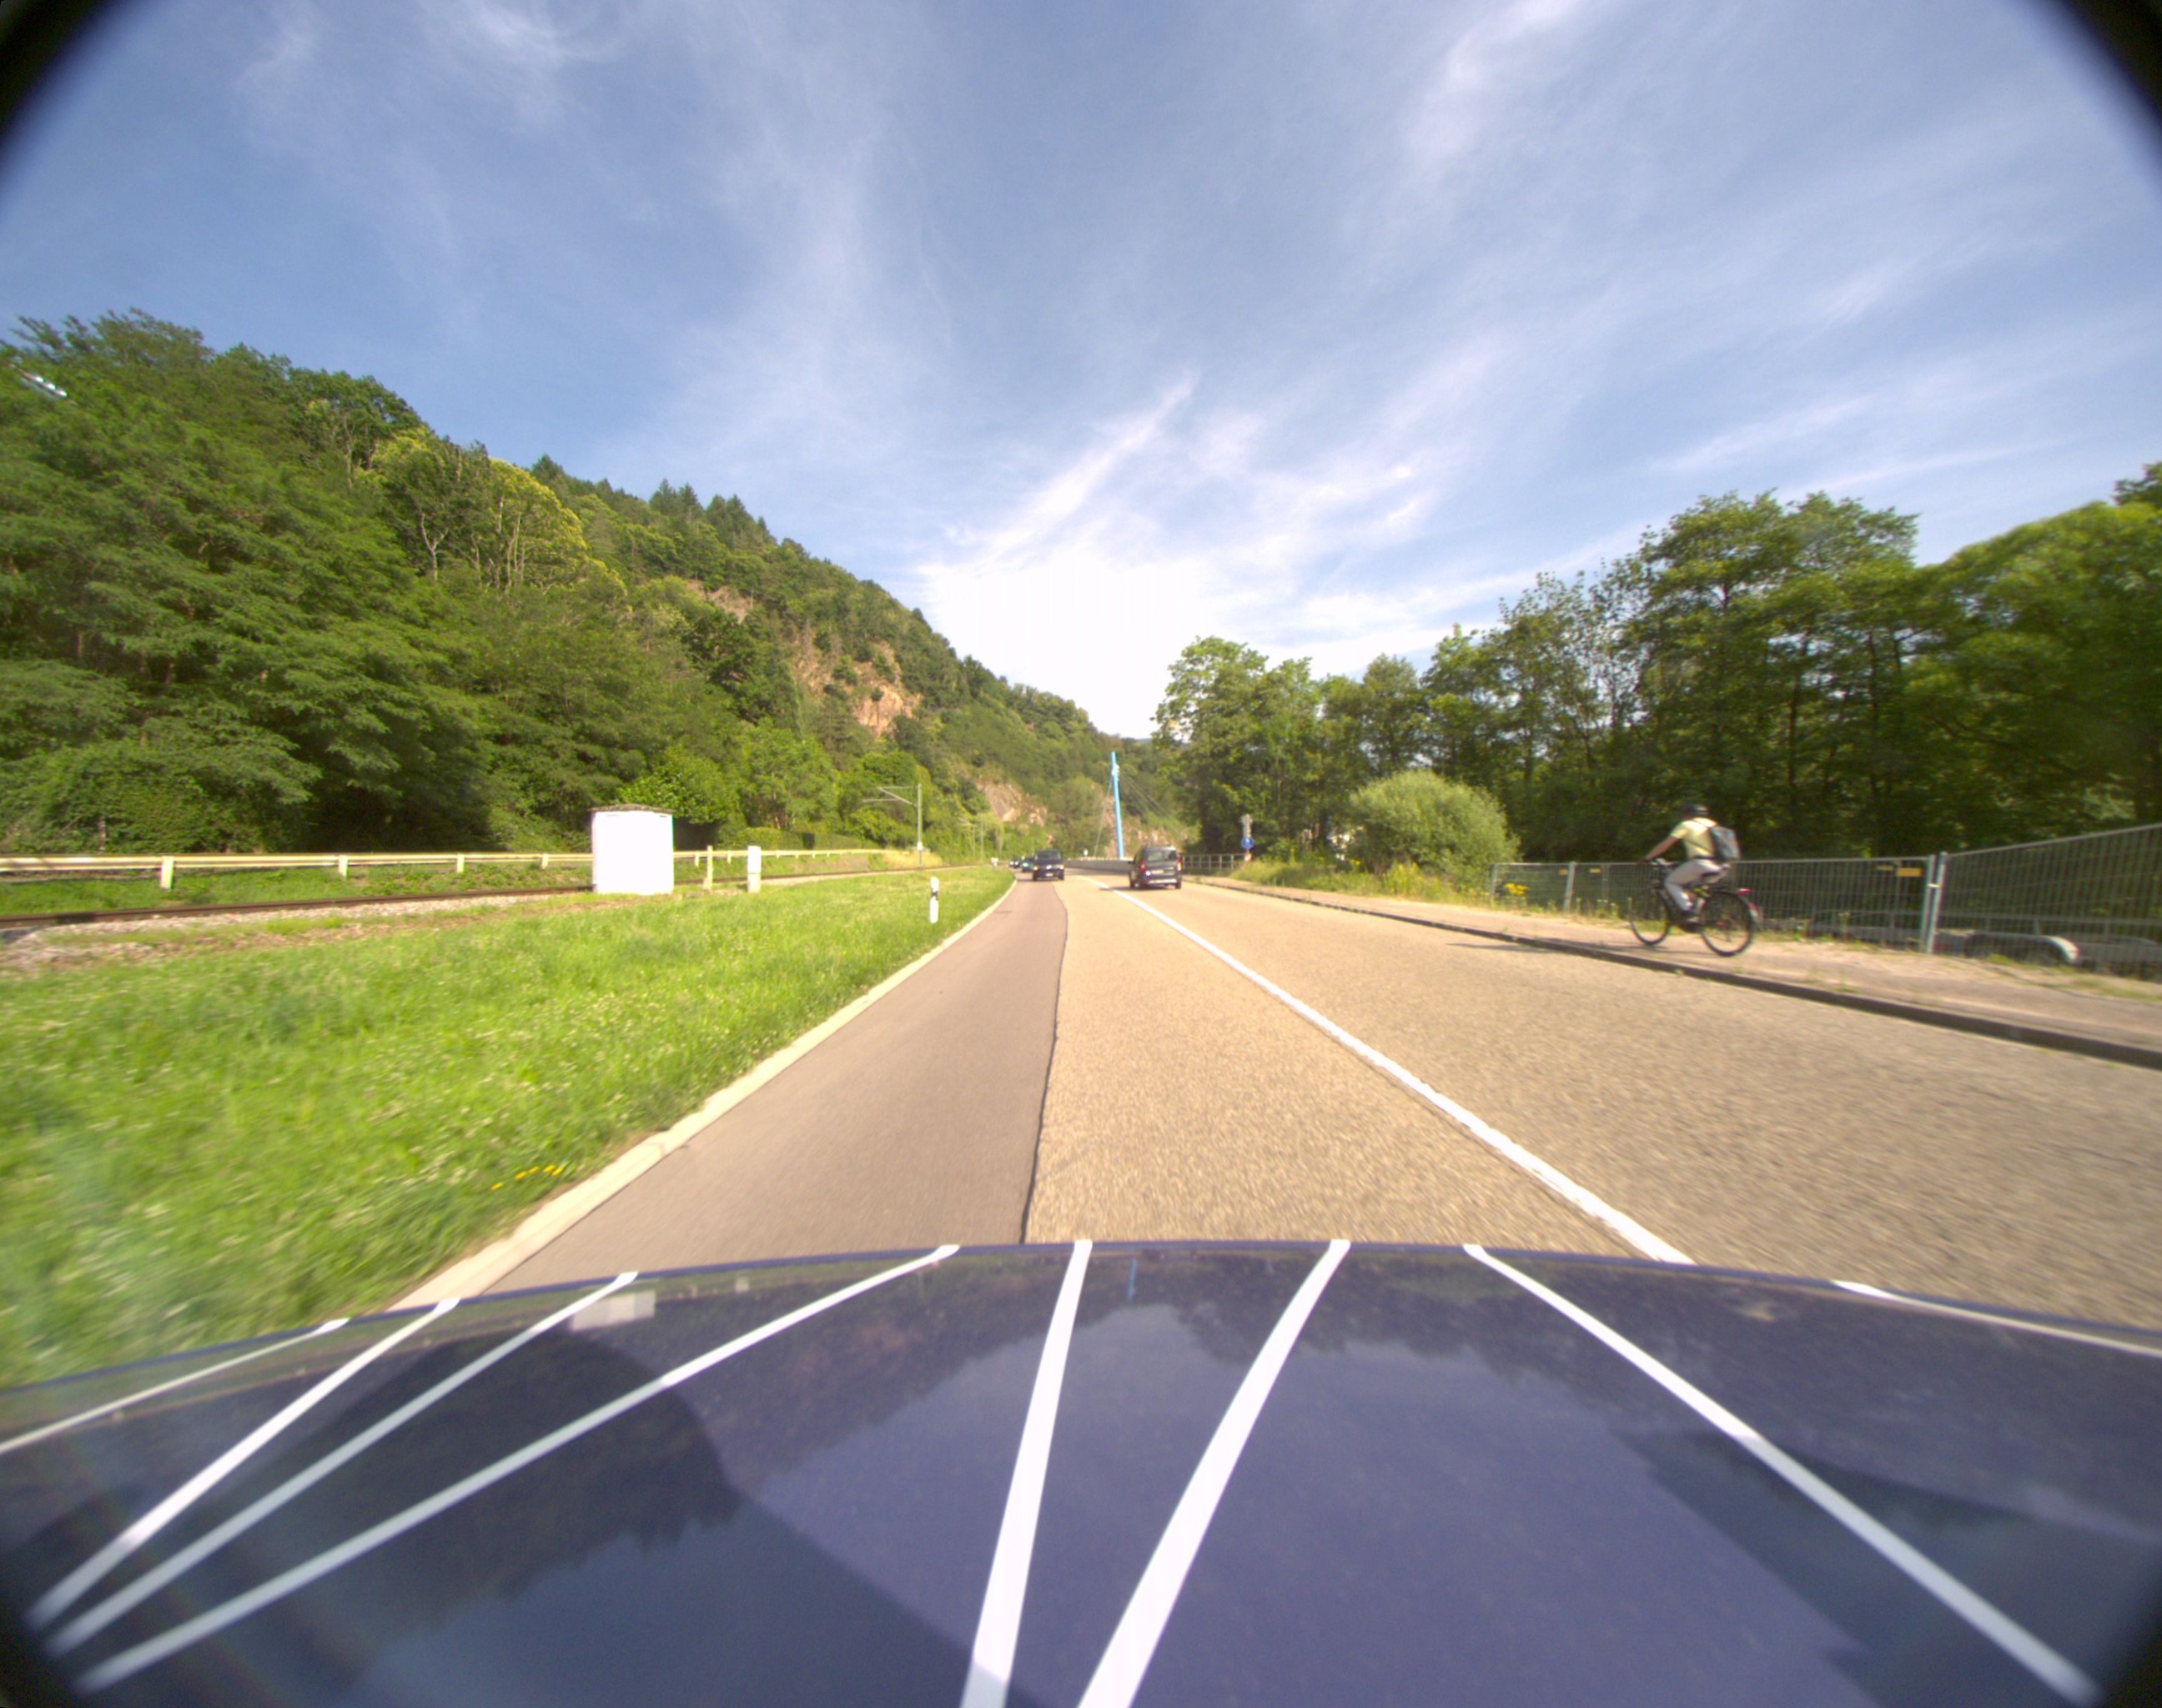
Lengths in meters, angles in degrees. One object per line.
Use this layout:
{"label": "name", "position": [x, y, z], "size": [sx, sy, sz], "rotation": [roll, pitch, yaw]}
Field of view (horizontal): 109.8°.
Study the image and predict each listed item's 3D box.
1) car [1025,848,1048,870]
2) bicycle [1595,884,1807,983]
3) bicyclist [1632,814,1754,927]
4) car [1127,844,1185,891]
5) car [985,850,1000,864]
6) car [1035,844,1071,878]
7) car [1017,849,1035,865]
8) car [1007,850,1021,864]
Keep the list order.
{"label": "car", "position": [-4.383, 0.455, 73.995], "size": [2.000, 2.002, 3.998], "rotation": [1, 0, -6]}
{"label": "bicycle", "position": [7.005, 0.844, 8.775], "size": [0.541, 0.876, 2.252], "rotation": [-2, 0, -2]}
{"label": "bicyclist", "position": [6.986, 0.181, 8.711], "size": [0.685, 1.218, 0.858], "rotation": [-2, 1, -2]}
{"label": "car", "position": [3.083, 0.528, 32.104], "size": [1.856, 1.774, 4.683], "rotation": [-2, 0, -1]}
{"label": "car", "position": [-12.875, 0.466, 110.480], "size": [1.999, 2.002, 3.998], "rotation": [1, 0, -4]}
{"label": "car", "position": [-1.781, 0.496, 47.016], "size": [1.999, 2.001, 3.999], "rotation": [0, -2, -5]}
{"label": "car", "position": [-7.022, 0.404, 97.280], "size": [1.998, 2.002, 4.000], "rotation": [1, 0, 0]}
{"label": "car", "position": [-10.259, 0.474, 115.912], "size": [1.999, 2.002, 3.998], "rotation": [1, 0, -4]}
